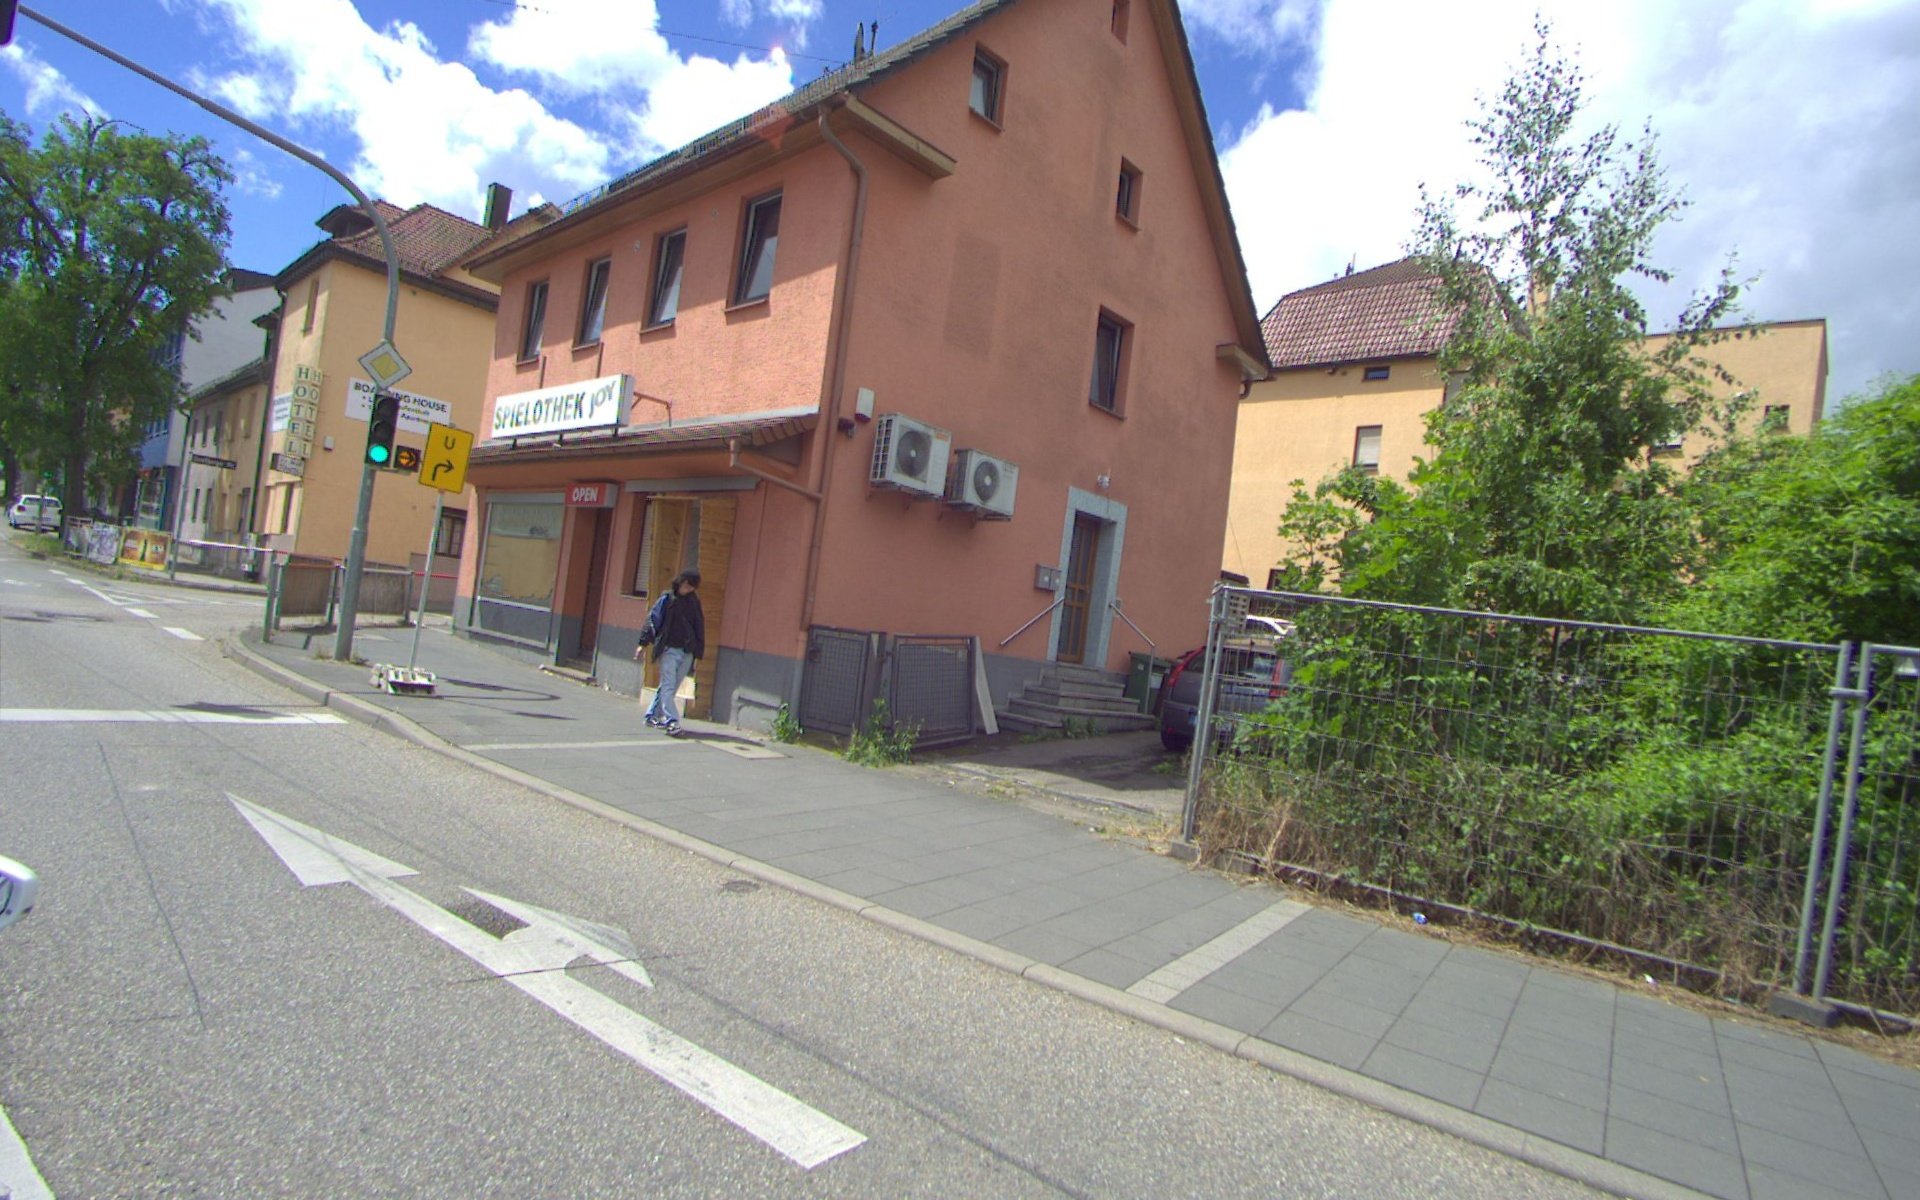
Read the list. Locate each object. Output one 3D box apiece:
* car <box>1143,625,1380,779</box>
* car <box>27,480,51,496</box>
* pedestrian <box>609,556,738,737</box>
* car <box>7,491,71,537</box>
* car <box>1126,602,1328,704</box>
[{"bbox_3d":[3.791,1.196,12.477,1.627,1.516,2.796,7,2,43],"label":"car"},{"bbox_3d":[-106.766,-12.989,116.609,1.812,1.484,3.951,12,-4,-43],"label":"car"},{"bbox_3d":[-2.830,0.462,9.945,0.767,1.663,0.762,9,1,43],"label":"pedestrian"},{"bbox_3d":[-39.409,-3.667,43.004,1.782,1.615,3.950,7,-1,-45],"label":"car"},{"bbox_3d":[6.208,1.218,23.643,3.947,1.804,1.990,7,-1,44],"label":"car"}]
